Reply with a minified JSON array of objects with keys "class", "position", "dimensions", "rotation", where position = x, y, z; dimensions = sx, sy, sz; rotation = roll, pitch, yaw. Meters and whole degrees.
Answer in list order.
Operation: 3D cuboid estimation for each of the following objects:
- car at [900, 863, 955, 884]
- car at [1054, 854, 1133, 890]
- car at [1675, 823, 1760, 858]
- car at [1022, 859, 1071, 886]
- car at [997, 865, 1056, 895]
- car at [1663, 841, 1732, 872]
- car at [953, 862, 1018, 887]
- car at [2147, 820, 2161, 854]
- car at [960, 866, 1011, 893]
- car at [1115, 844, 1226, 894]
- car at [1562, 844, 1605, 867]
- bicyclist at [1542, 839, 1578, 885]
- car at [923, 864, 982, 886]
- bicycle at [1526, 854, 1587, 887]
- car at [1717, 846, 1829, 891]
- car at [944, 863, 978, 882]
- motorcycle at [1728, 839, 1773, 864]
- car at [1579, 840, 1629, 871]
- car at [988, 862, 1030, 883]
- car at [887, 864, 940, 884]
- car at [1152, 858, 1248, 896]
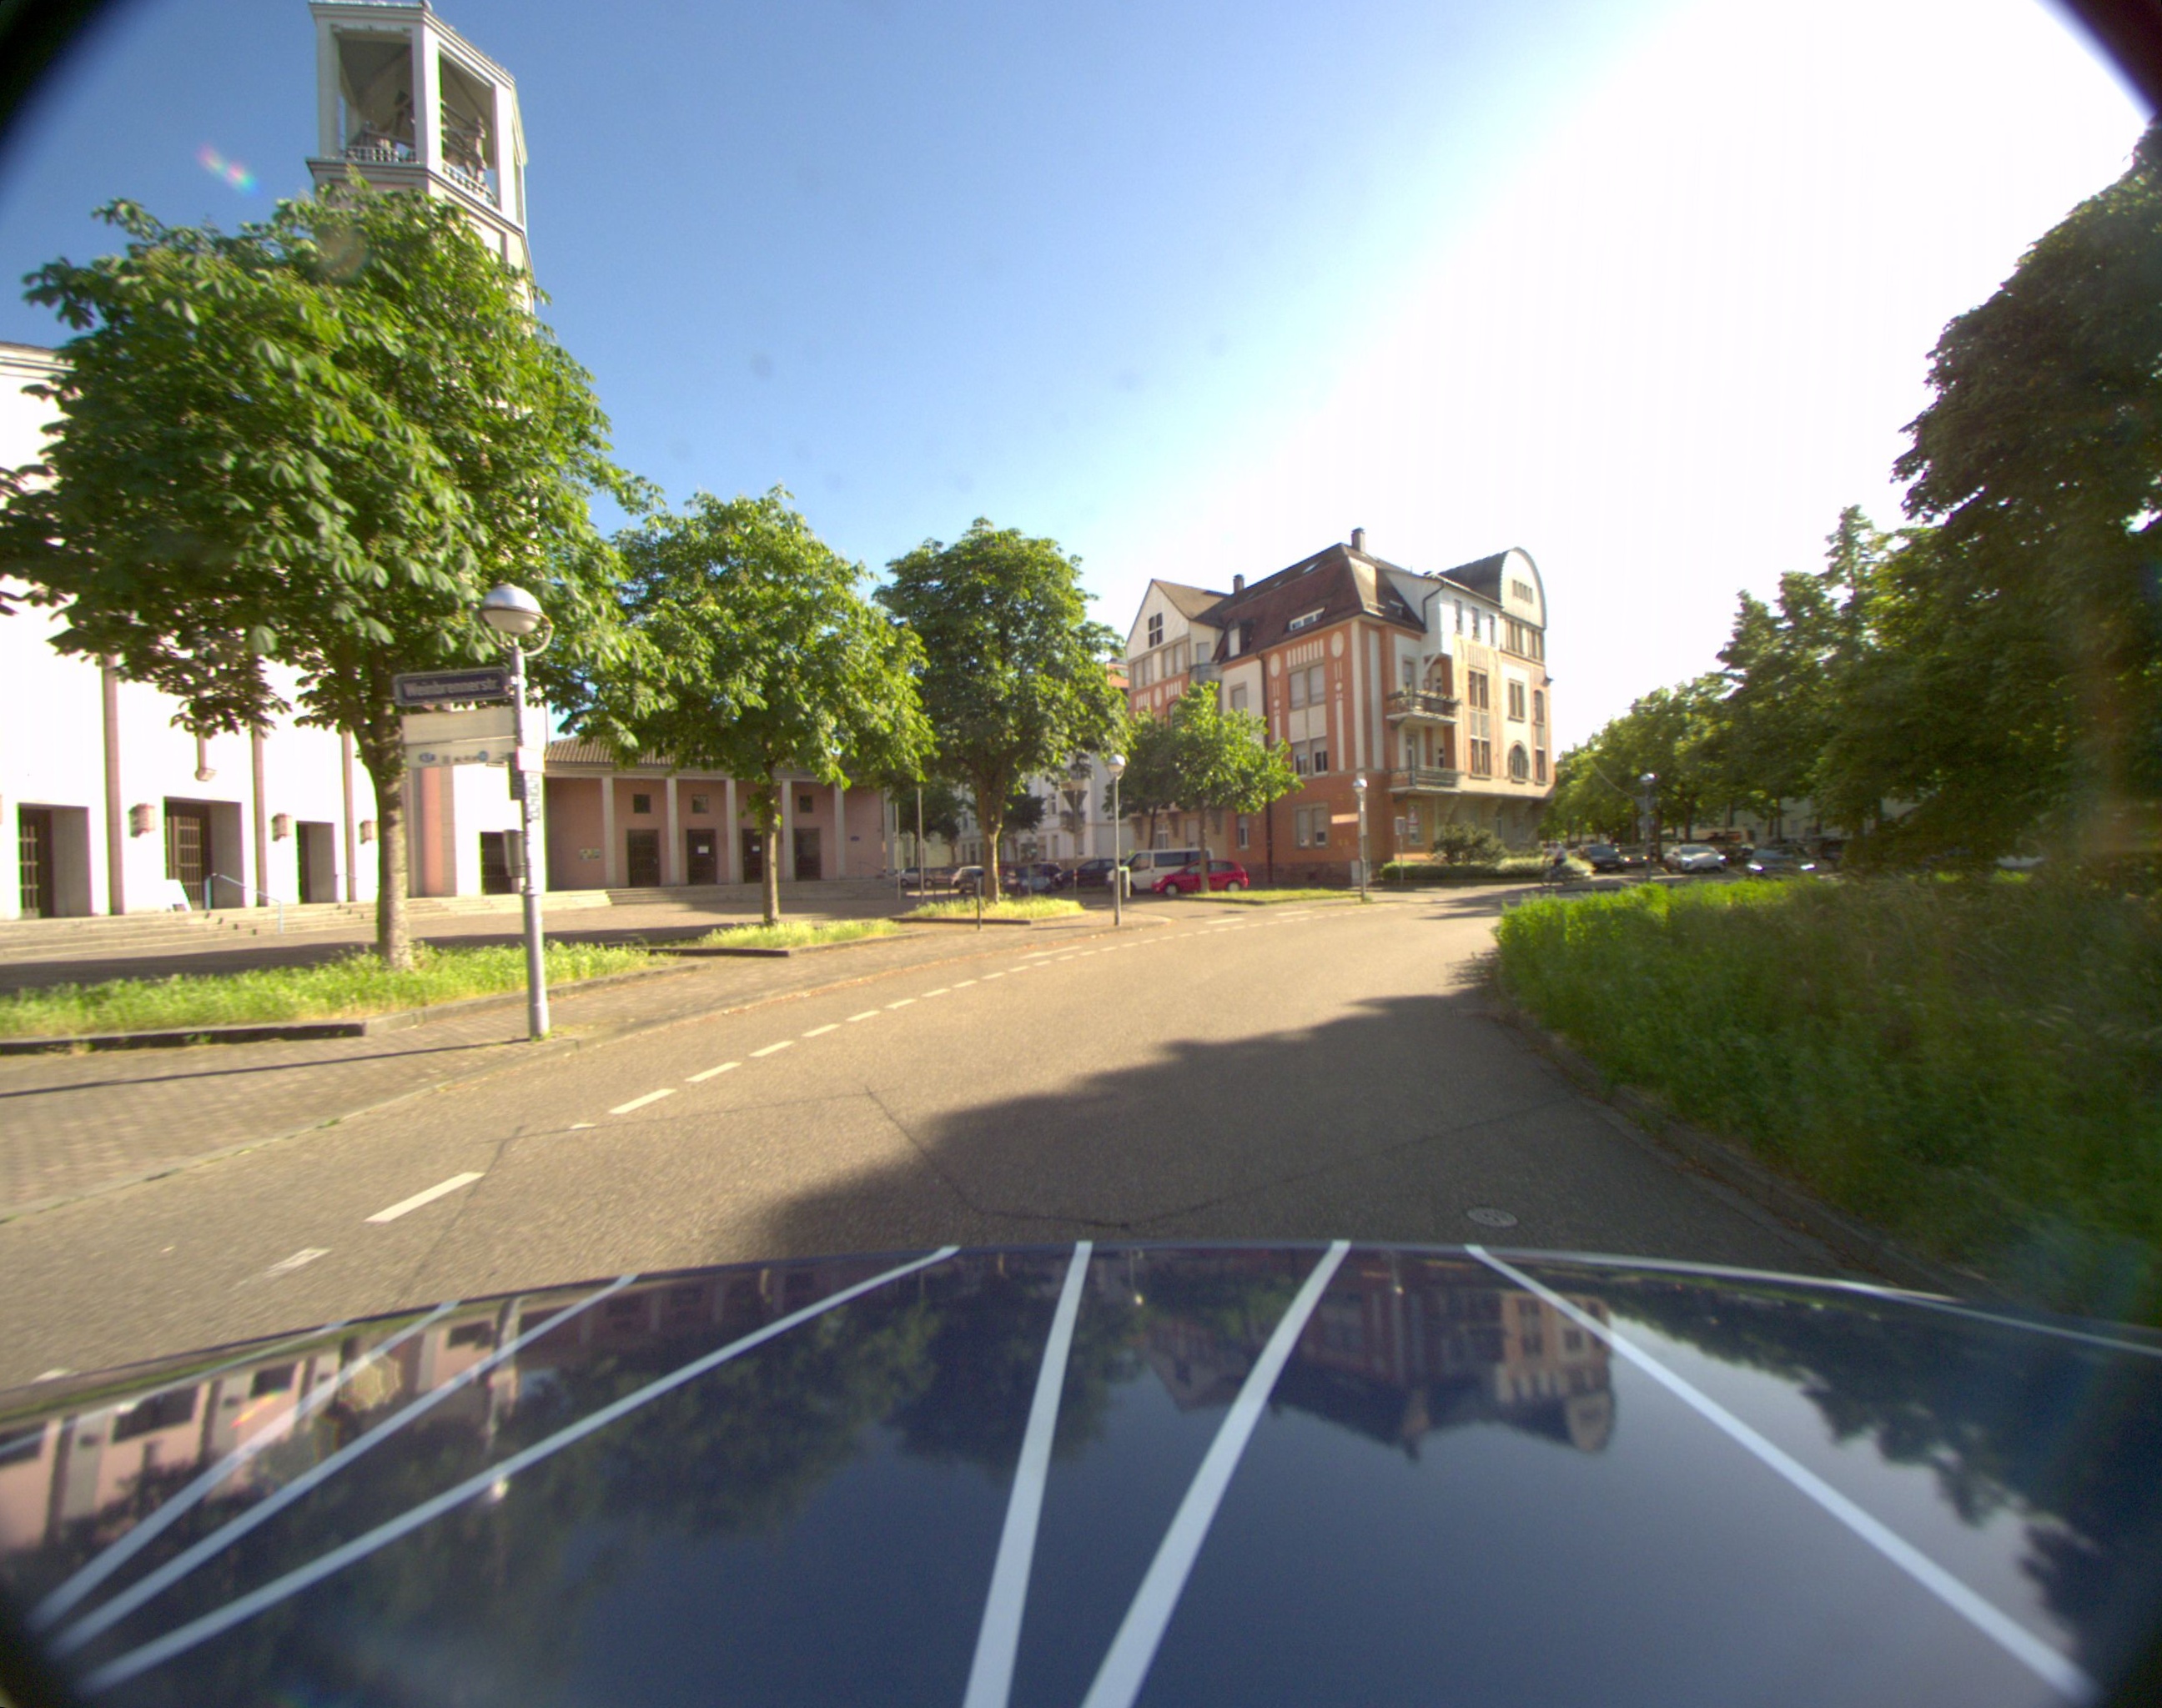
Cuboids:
[{"class":"car","position":[-12.418,1.578,61.581],"dimensions":[3.950,1.487,1.762],"rotation":[-2,0,7]},{"class":"car","position":[0.677,0.935,39.419],"dimensions":[3.952,1.728,1.762],"rotation":[-2,0,2]},{"class":"car","position":[48.465,-0.974,57.934],"dimensions":[1.990,2.476,4.583],"rotation":[-2,0,-33]},{"class":"car","position":[-2.350,1.228,51.207],"dimensions":[1.764,1.647,3.947],"rotation":[-2,0,-27]},{"class":"car","position":[-2.818,1.294,38.628],"dimensions":[1.616,1.414,3.606],"rotation":[-2,0,-28]},{"class":"car","position":[32.059,0.132,39.652],"dimensions":[1.794,1.426,4.216],"rotation":[-3,-1,25]},{"class":"car","position":[-6.333,1.357,50.799],"dimensions":[3.950,1.487,1.762],"rotation":[-2,0,7]},{"class":"car","position":[45.734,-0.722,30.274],"dimensions":[1.731,1.430,4.395],"rotation":[-2,0,23]},{"class":"car","position":[-5.367,1.407,42.488],"dimensions":[1.616,1.414,3.606],"rotation":[-2,0,-28]},{"class":"car","position":[3.955,0.647,33.932],"dimensions":[4.700,2.033,1.995],"rotation":[-2,0,5]},{"class":"car","position":[35.131,0.080,53.228],"dimensions":[1.794,1.445,4.216],"rotation":[-4,-2,25]},{"class":"bicyclist","position":[18.270,0.296,28.994],"dimensions":[0.812,1.686,0.764],"rotation":[-2,1,-7]},{"class":"car","position":[-9.531,1.526,56.401],"dimensions":[3.950,1.487,1.762],"rotation":[-2,0,7]},{"class":"bicycle","position":[18.144,0.629,28.996],"dimensions":[1.869,1.191,0.764],"rotation":[-2,1,-7]},{"class":"car","position":[24.856,0.485,27.477],"dimensions":[1.794,1.426,4.216],"rotation":[-3,-1,25]},{"class":"car","position":[-10.629,1.633,67.200],"dimensions":[1.764,1.607,3.947],"rotation":[-2,0,-27]},{"class":"motorcycle","position":[37.871,-0.125,43.021],"dimensions":[1.798,1.340,0.728],"rotation":[-2,0,5]},{"class":"car","position":[32.188,0.095,46.879],"dimensions":[1.794,1.756,4.216],"rotation":[-4,-2,25]},{"class":"car","position":[-5.354,1.376,56.215],"dimensions":[1.764,1.447,3.947],"rotation":[-2,0,-27]},{"class":"car","position":[-14.216,1.686,64.518],"dimensions":[3.950,1.487,1.762],"rotation":[-2,0,7]},{"class":"car","position":[4.855,0.933,31.317],"dimensions":[3.692,1.426,1.669],"rotation":[-2,0,2]}]
